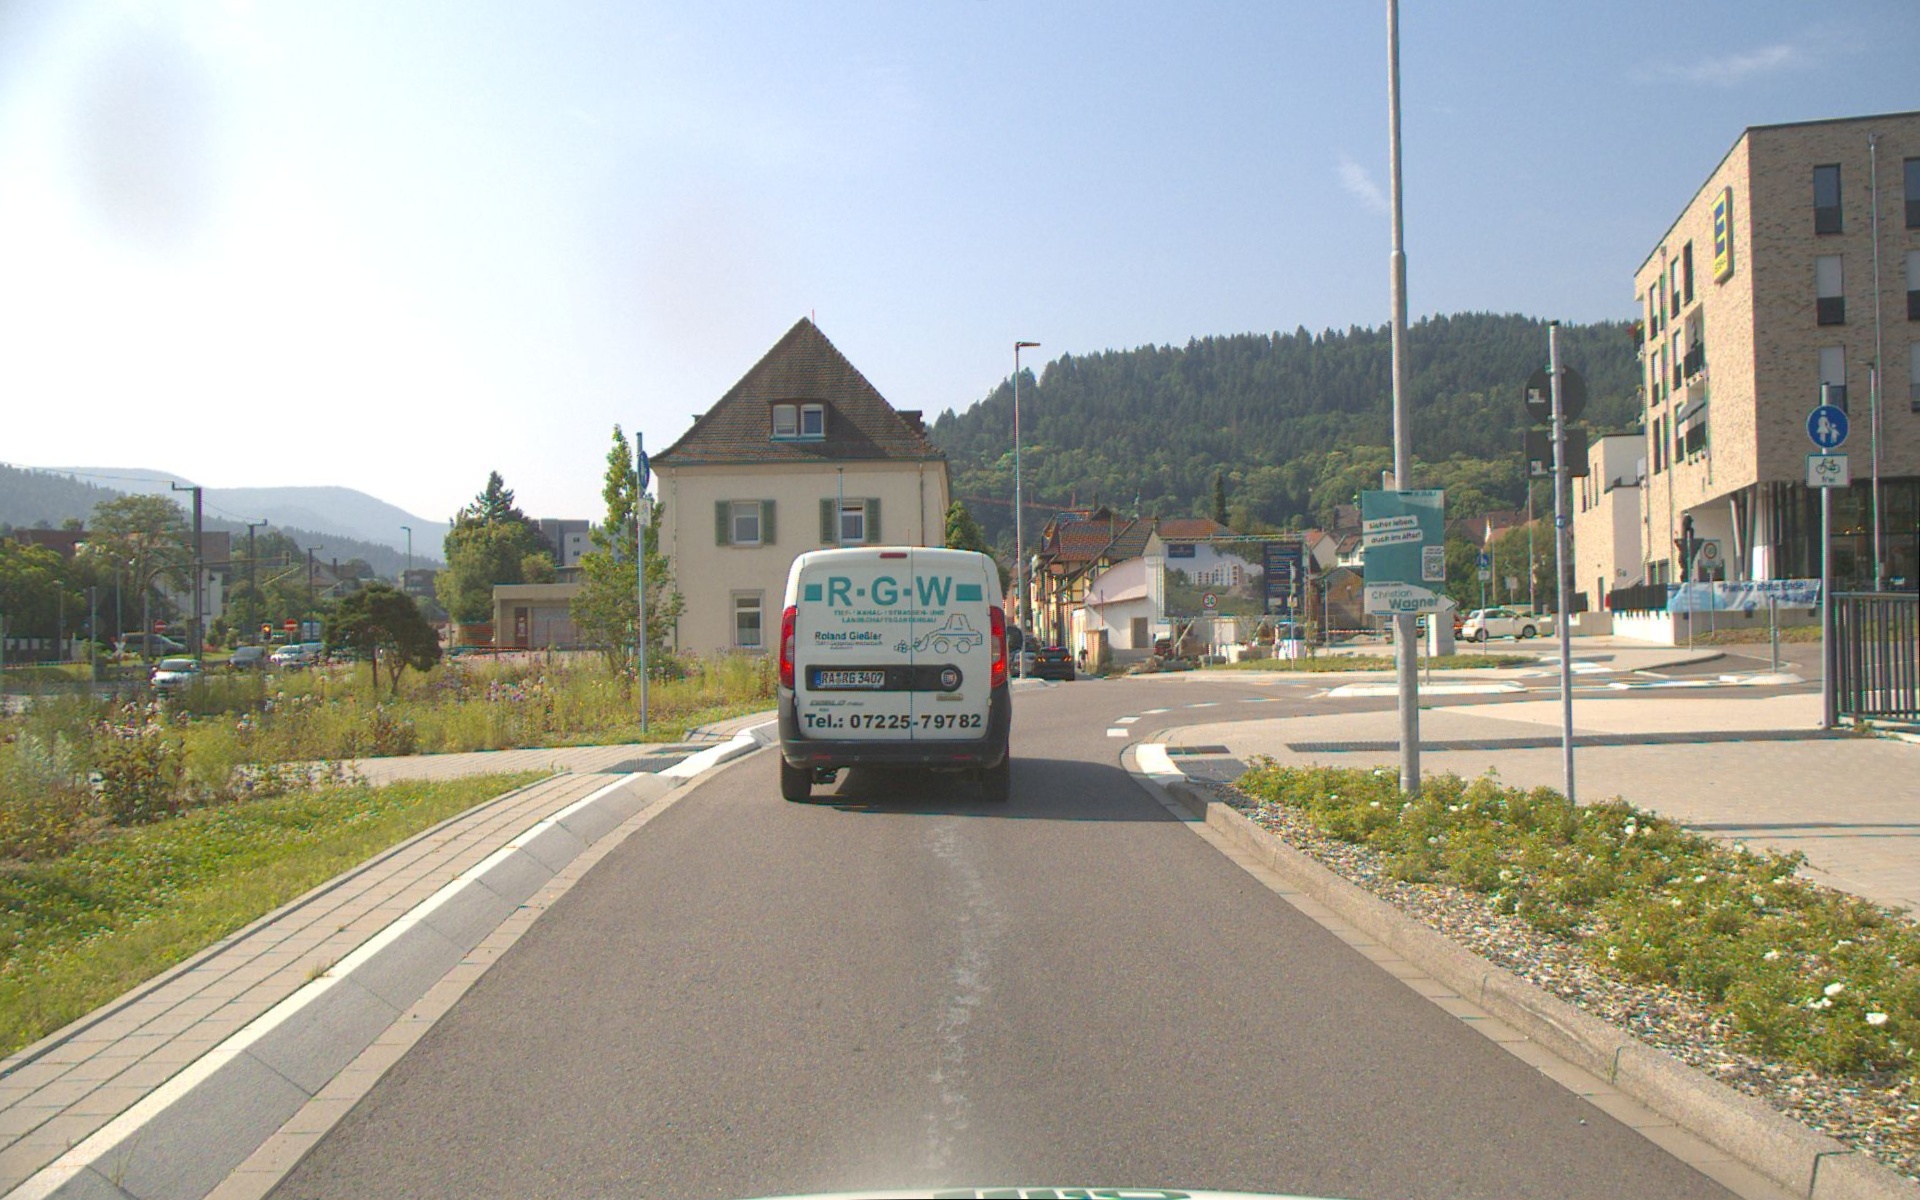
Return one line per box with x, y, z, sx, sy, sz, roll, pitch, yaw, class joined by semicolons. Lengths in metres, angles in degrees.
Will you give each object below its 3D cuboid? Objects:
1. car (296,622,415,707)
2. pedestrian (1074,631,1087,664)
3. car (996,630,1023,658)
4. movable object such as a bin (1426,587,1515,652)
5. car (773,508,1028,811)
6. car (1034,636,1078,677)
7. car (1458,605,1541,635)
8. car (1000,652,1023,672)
-16.098;1.663;44.228;1.773;2.049;3.998;-2;0;-2;car
7.657;3.027;105.319;0.677;2.049;0.636;-2;-2;-1;pedestrian
3.857;3.423;128.148;1.952;2.049;4.001;-2;-2;2;car
15.804;0.620;51.264;2.391;1.876;1.429;-3;-2;9;movable object such as a bin
-0.326;0.406;13.878;1.768;2.114;4.606;0;0;2;car
4.417;2.562;75.685;1.841;1.713;4.002;-2;-1;4;car
25.486;0.939;78.190;3.402;1.326;1.469;-2;-1;2;car
2.957;3.543;95.045;1.279;1.021;3.091;-2;-1;1;car
